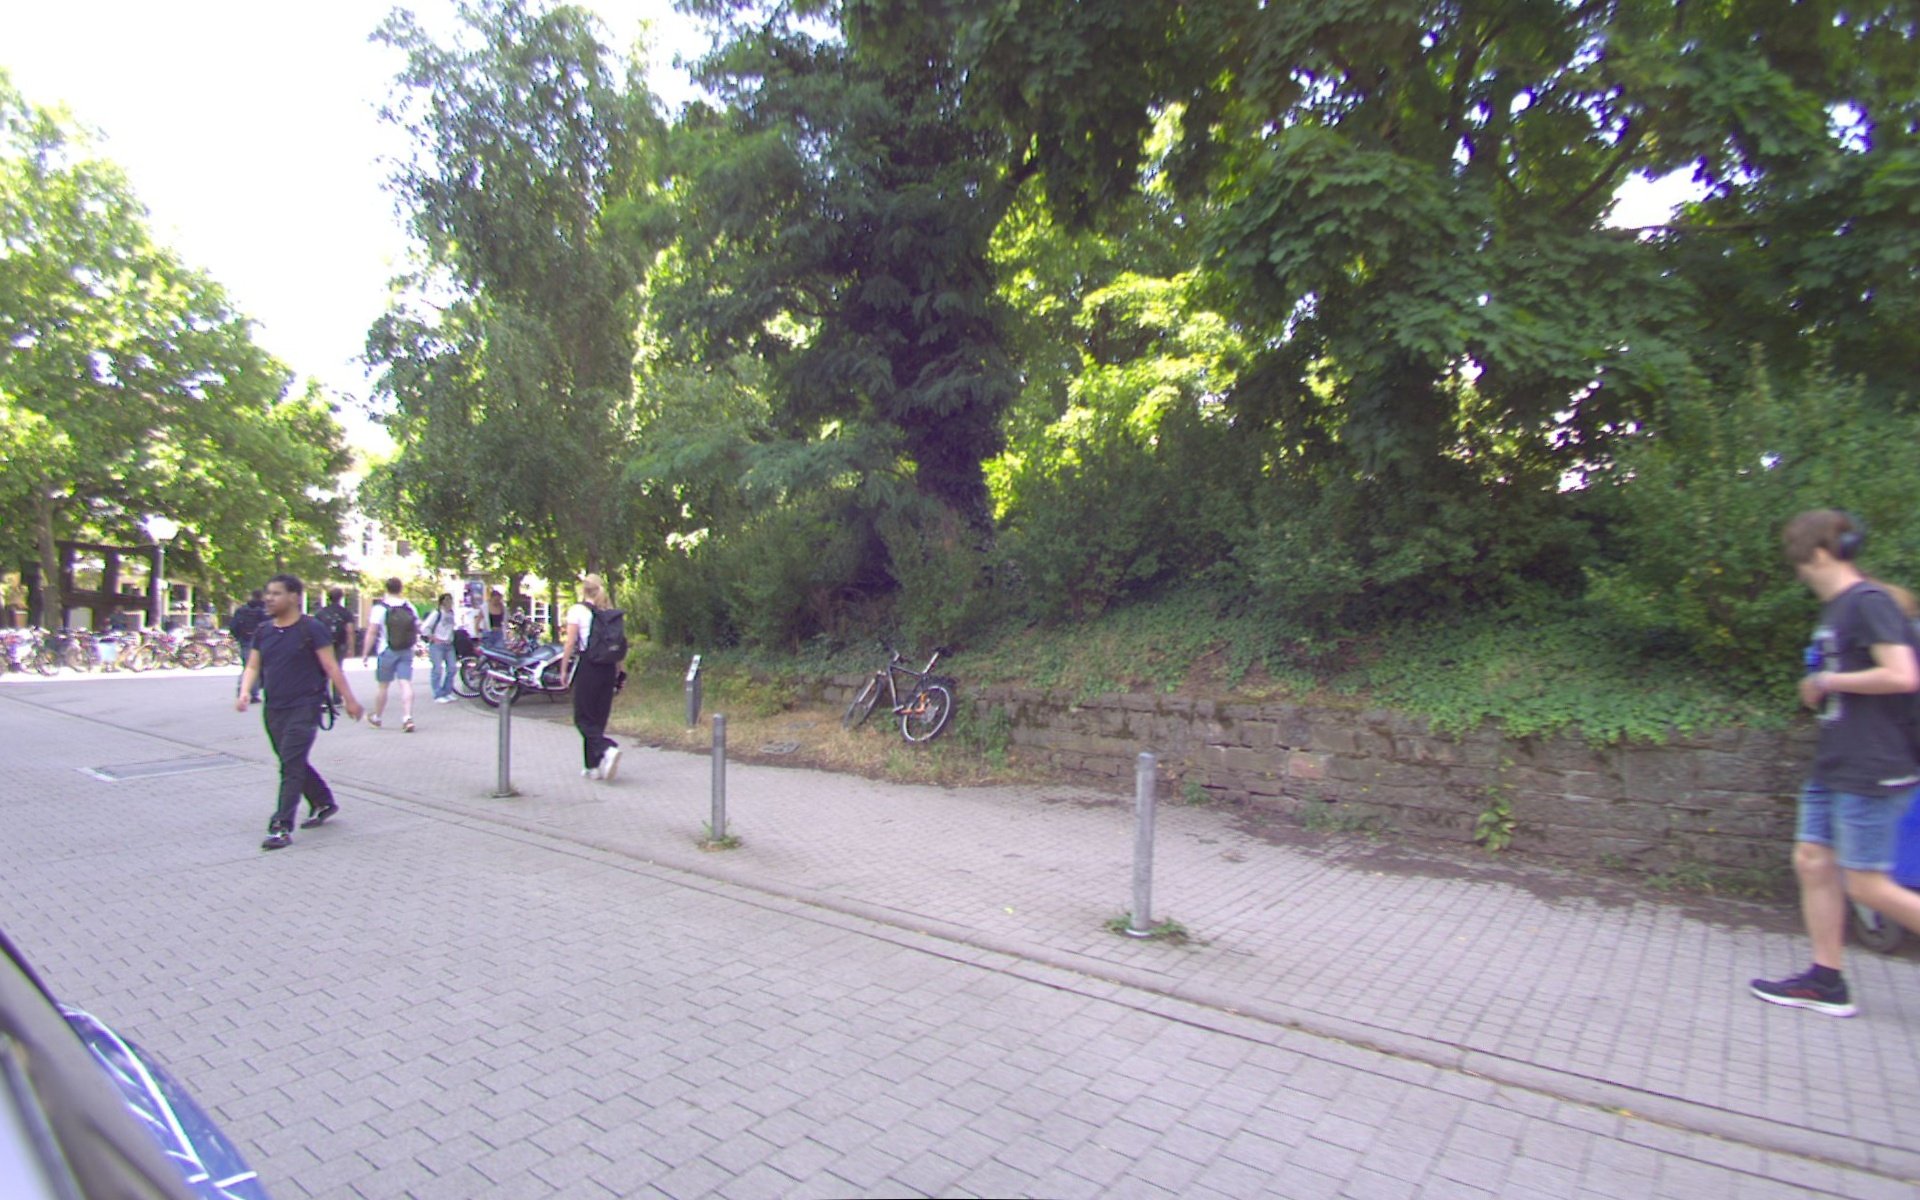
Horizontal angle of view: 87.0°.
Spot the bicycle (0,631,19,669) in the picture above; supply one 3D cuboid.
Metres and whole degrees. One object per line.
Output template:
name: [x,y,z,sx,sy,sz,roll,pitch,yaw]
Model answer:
bicycle: [-28.914,1.493,29.830,0.472,1.116,1.684,-1,-1,27]

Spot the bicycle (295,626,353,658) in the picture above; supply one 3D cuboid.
bicycle: [-22.309,1.475,35.521,1.670,1.092,0.475,0,-1,-16]

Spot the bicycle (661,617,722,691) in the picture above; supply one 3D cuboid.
bicycle: [-4.247,0.815,15.929,0.466,1.055,1.705,-2,1,-30]

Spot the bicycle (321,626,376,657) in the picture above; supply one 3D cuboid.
bicycle: [-22.292,1.522,36.916,1.672,1.092,0.475,0,-1,-9]

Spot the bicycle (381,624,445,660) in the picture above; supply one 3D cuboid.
bicycle: [-17.925,1.359,33.215,0.473,1.118,1.822,-1,-1,37]

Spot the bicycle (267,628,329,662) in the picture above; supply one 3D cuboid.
bicycle: [-22.168,1.495,33.922,1.670,1.092,0.475,0,-1,-16]

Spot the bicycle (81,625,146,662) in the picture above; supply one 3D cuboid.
bicycle: [-28.340,1.446,33.899,1.675,1.209,0.576,0,-1,-1]

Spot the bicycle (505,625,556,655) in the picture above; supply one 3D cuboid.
bicycle: [-16.690,1.539,39.329,1.749,1.118,0.518,0,-1,-10]

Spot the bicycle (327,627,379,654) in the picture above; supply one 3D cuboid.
bicycle: [-22.826,1.521,38.067,1.715,0.969,0.452,0,-1,0]

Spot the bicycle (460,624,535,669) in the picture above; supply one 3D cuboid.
bicycle: [-12.011,1.185,26.315,1.747,1.118,0.476,0,-1,-23]

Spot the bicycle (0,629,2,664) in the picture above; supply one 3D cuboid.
bicycle: [-31.302,1.474,31.782,0.494,1.116,1.725,-1,-1,26]

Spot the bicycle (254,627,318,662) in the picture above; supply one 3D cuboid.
bicycle: [-21.859,1.452,32.848,1.670,1.092,0.475,0,-1,-16]

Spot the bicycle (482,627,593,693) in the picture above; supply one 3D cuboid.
bicycle: [-7.263,1.030,17.421,1.675,1.055,0.474,-2,1,-2]

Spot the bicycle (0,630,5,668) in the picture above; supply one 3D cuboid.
bicycle: [-29.370,1.476,29.852,0.471,1.116,1.684,-1,-1,26]

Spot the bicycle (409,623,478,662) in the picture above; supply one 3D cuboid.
bicycle: [-15.111,1.242,29.644,1.748,1.118,0.475,0,-1,-13]

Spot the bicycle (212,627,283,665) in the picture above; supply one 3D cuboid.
bicycle: [-21.283,1.359,30.247,1.671,1.092,0.475,0,-1,-13]

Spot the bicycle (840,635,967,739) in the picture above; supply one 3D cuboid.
bicycle: [-0.621,0.850,10.400,0.416,0.917,1.744,0,0,-36]

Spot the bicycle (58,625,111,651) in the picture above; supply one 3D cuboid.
bicycle: [-40.446,1.745,46.787,0.392,1.116,1.819,-1,-1,32]

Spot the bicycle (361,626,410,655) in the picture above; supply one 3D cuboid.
bicycle: [-22.647,1.597,39.909,1.675,1.092,0.474,0,-1,0]

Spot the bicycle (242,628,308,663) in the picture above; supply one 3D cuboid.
bicycle: [-21.808,1.444,32.238,1.670,1.092,0.475,0,-1,-16]

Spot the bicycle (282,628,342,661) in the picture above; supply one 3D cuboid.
bicycle: [-22.087,1.502,34.501,1.670,1.092,0.475,0,-1,-16]

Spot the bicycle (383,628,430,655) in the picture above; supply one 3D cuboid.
bicycle: [-22.703,1.691,41.519,1.675,1.092,0.474,0,-1,0]

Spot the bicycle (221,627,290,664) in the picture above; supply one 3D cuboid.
bicycle: [-21.689,1.392,31.182,1.670,1.092,0.475,0,-1,-16]

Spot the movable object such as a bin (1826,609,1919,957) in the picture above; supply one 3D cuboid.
movable object such as a bin: [4.271,0.720,3.954,0.700,1.346,1.241,-3,1,-41]

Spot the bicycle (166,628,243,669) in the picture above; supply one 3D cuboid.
bicycle: [-20.898,1.322,28.000,1.672,1.092,0.475,0,-1,-10]

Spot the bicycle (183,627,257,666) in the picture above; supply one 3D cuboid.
bicycle: [-21.229,1.322,29.052,1.672,1.092,0.475,0,-1,-10]

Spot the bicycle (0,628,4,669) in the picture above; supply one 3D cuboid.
bicycle: [-28.720,1.417,29.108,0.534,1.207,1.682,-1,-1,30]

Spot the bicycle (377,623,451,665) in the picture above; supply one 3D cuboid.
bicycle: [-15.070,1.198,27.977,1.750,1.118,0.475,0,-1,-8]

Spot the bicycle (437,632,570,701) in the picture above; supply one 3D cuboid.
bicycle: [-7.256,1.052,16.123,1.881,1.055,0.542,0,-1,-2]

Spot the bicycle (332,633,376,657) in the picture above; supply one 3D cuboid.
bicycle: [-29.360,2.192,49.017,1.982,1.116,0.501,-1,-1,9]

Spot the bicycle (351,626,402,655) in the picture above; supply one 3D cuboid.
bicycle: [-22.531,1.553,39.096,1.675,1.092,0.474,0,-1,0]

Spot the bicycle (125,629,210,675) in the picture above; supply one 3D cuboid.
bicycle: [-20.290,1.319,25.942,1.696,1.092,0.475,0,-1,-37]

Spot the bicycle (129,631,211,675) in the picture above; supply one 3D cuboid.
bicycle: [-20.901,1.382,26.795,1.671,1.092,0.475,0,-1,-32]

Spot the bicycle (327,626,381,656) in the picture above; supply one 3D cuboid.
bicycle: [-22.410,1.511,37.437,1.672,1.092,0.475,0,-1,-9]

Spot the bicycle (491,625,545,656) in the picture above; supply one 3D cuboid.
bicycle: [-16.415,1.484,37.596,1.749,1.118,0.518,0,-1,-10]

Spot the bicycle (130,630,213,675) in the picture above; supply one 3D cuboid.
bicycle: [-20.552,1.358,26.408,1.671,1.092,0.475,0,-1,-32]

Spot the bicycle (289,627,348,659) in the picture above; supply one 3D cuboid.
bicycle: [-22.192,1.483,35.024,1.670,1.092,0.475,0,-1,-16]

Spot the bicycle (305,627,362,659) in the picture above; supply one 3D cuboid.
bicycle: [-22.363,1.530,36.130,1.670,1.092,0.475,0,-1,-16]

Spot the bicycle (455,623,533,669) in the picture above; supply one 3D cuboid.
bicycle: [-11.634,1.136,25.305,1.747,1.118,0.476,0,-1,-23]

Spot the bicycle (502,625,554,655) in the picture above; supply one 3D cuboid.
bicycle: [-16.403,1.523,38.459,1.749,1.118,0.518,0,-1,-10]

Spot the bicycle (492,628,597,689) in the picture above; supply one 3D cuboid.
bicycle: [-7.393,1.039,18.040,1.675,1.055,0.474,0,-1,-2]

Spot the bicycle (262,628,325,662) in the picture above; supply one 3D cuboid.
bicycle: [-22.019,1.472,33.465,1.670,1.092,0.475,0,-1,-16]

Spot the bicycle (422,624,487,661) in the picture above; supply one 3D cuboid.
bicycle: [-15.671,1.317,31.416,1.748,1.118,0.475,0,-1,-13]

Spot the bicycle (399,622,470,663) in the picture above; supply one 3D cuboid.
bicycle: [-15.088,1.217,29.086,1.750,1.118,0.475,0,-1,-8]

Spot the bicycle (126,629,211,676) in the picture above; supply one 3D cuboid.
bicycle: [-19.939,1.301,25.521,1.672,1.118,0.475,0,-1,-39]
